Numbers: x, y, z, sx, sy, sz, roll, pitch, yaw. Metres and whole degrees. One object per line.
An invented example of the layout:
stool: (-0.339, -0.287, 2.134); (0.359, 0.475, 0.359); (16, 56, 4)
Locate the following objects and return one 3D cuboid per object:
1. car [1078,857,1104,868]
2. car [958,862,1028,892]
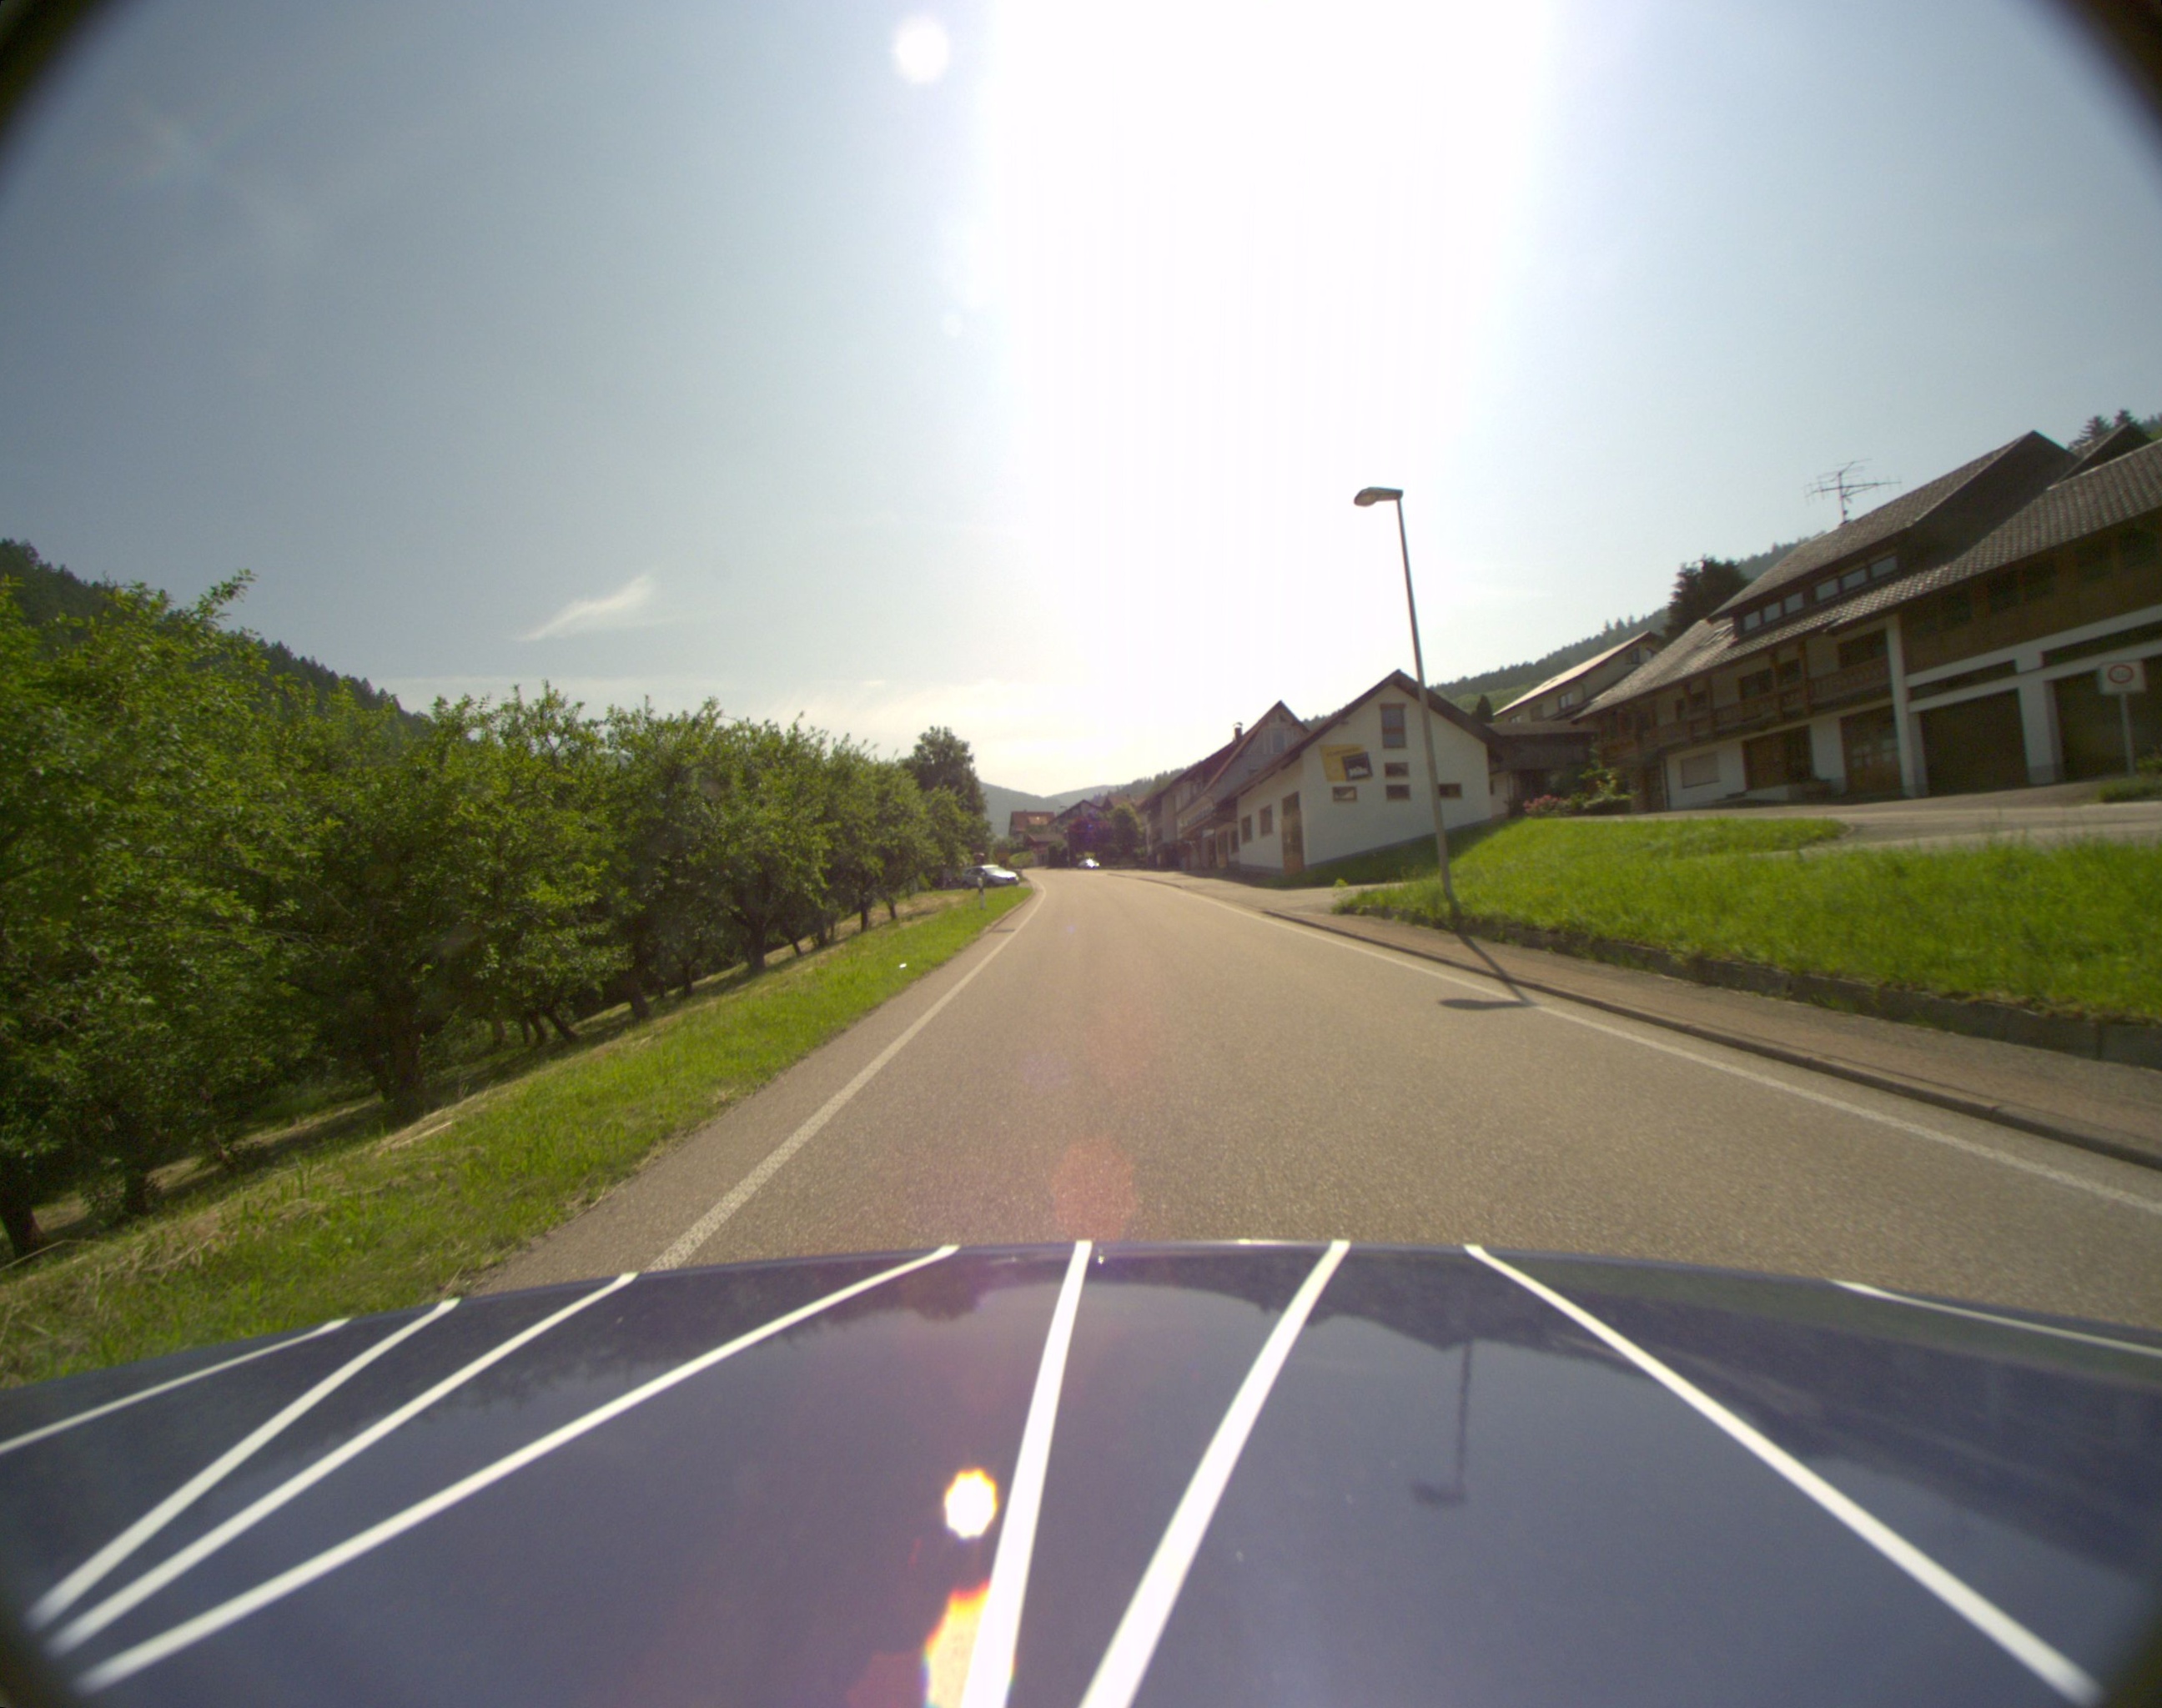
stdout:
car: (1.251, 1.110, 95.782); (1.789, 1.331, 4.689); (-2, 0, -18)
car: (-5.489, 1.440, 46.951); (1.909, 1.561, 4.451); (-4, -1, -44)
